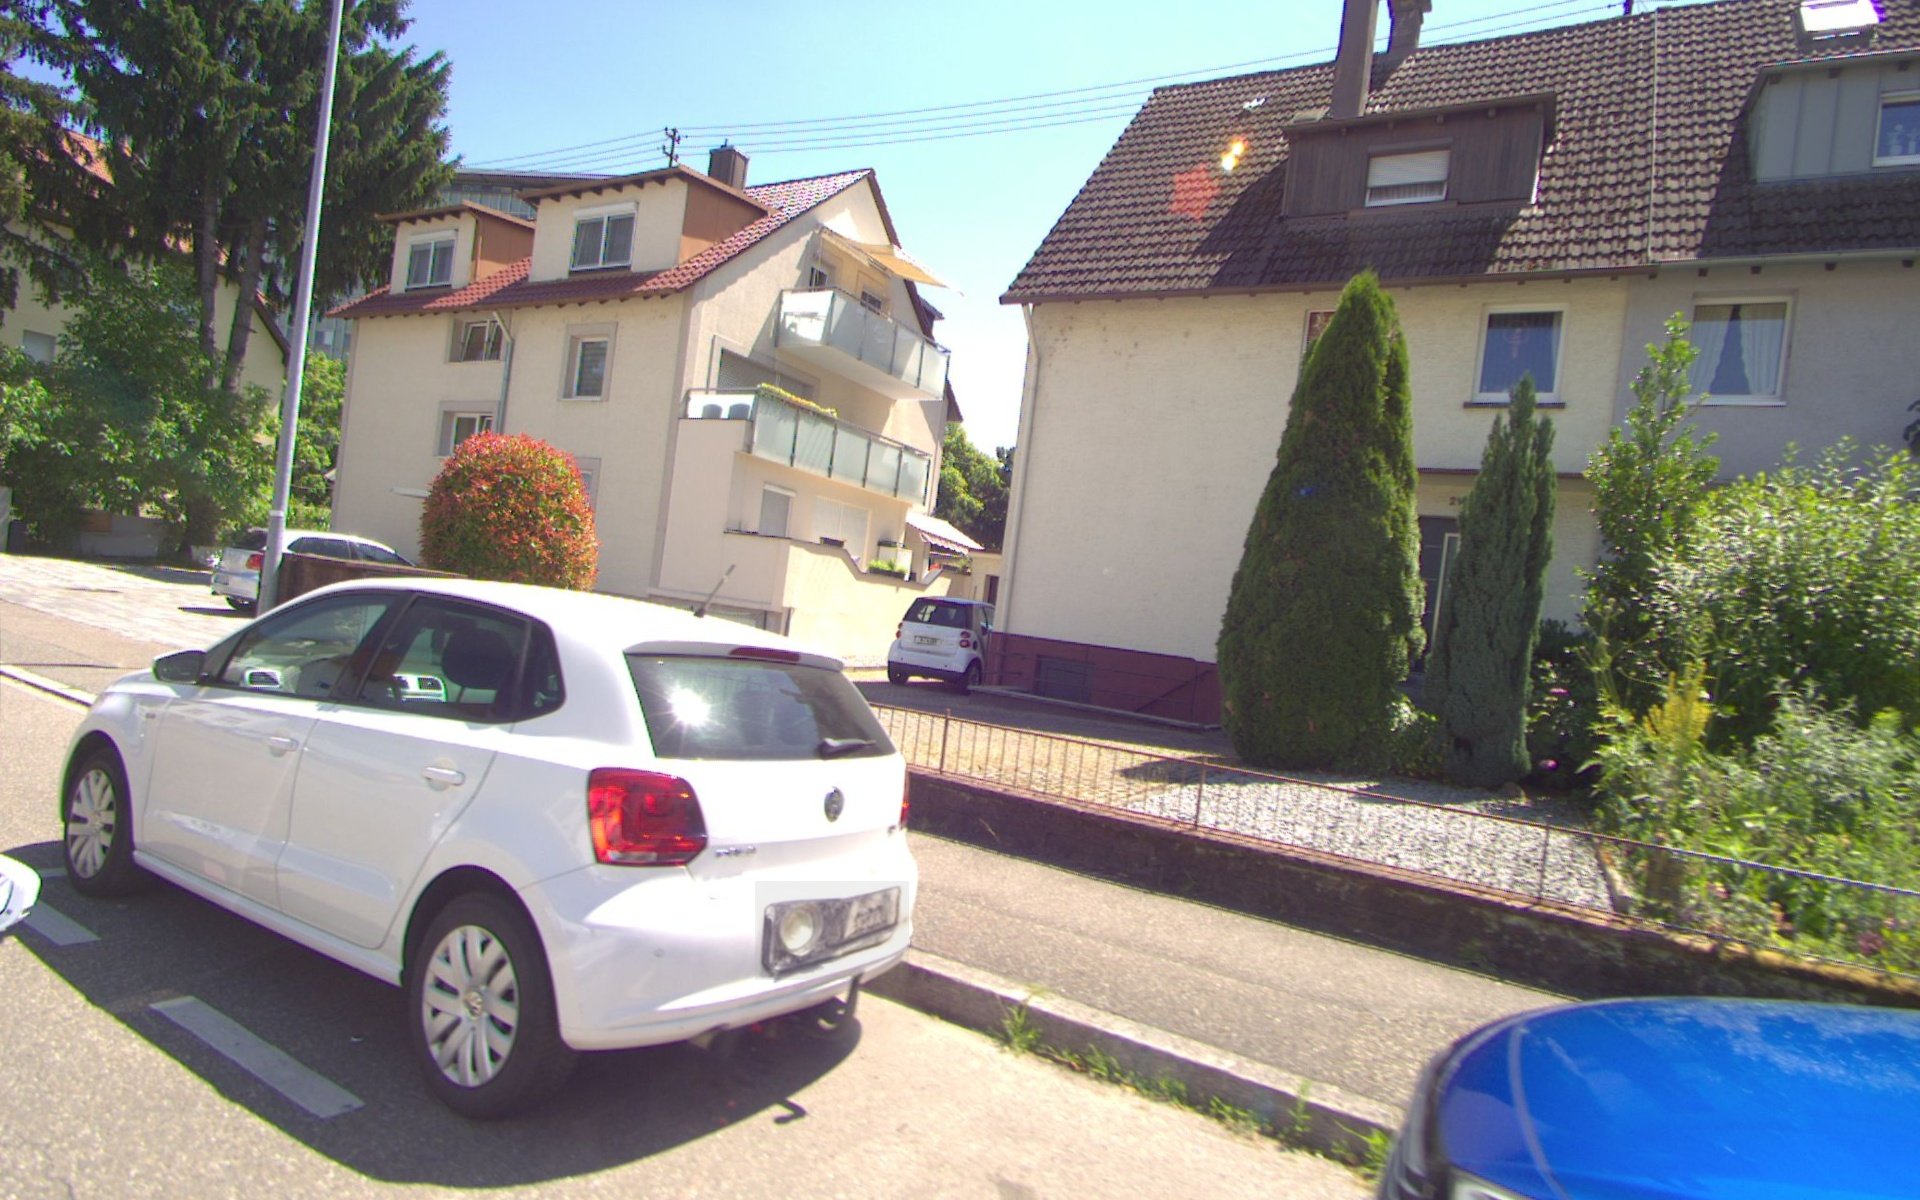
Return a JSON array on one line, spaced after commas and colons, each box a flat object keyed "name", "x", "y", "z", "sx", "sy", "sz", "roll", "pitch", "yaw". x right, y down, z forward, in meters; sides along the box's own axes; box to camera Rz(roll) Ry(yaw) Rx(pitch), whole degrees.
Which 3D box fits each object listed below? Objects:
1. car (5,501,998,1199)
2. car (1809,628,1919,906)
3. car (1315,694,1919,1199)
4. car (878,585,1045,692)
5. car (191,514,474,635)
[{"name": "car", "x": -1.934, "y": 0.588, "z": 4.038, "sx": 3.676, "sy": 1.471, "sz": 1.688, "roll": 7, "pitch": -2, "yaw": 30}, {"name": "car", "x": 8.822, "y": 1.423, "z": 6.647, "sx": 4.454, "sy": 1.872, "sz": 1.920, "roll": 6, "pitch": -1, "yaw": 30}, {"name": "car", "x": 2.743, "y": 1.155, "z": 1.060, "sx": 4.289, "sy": 1.470, "sz": 1.688, "roll": 6, "pitch": -2, "yaw": 30}, {"name": "car", "x": 0.110, "y": 0.680, "z": 17.859, "sx": 1.543, "sy": 1.572, "sz": 3.152, "roll": 7, "pitch": 1, "yaw": 28}, {"name": "car", "x": -10.620, "y": -0.384, "z": 17.248, "sx": 1.750, "sy": 1.547, "sz": 3.621, "roll": 5, "pitch": -3, "yaw": 36}]
